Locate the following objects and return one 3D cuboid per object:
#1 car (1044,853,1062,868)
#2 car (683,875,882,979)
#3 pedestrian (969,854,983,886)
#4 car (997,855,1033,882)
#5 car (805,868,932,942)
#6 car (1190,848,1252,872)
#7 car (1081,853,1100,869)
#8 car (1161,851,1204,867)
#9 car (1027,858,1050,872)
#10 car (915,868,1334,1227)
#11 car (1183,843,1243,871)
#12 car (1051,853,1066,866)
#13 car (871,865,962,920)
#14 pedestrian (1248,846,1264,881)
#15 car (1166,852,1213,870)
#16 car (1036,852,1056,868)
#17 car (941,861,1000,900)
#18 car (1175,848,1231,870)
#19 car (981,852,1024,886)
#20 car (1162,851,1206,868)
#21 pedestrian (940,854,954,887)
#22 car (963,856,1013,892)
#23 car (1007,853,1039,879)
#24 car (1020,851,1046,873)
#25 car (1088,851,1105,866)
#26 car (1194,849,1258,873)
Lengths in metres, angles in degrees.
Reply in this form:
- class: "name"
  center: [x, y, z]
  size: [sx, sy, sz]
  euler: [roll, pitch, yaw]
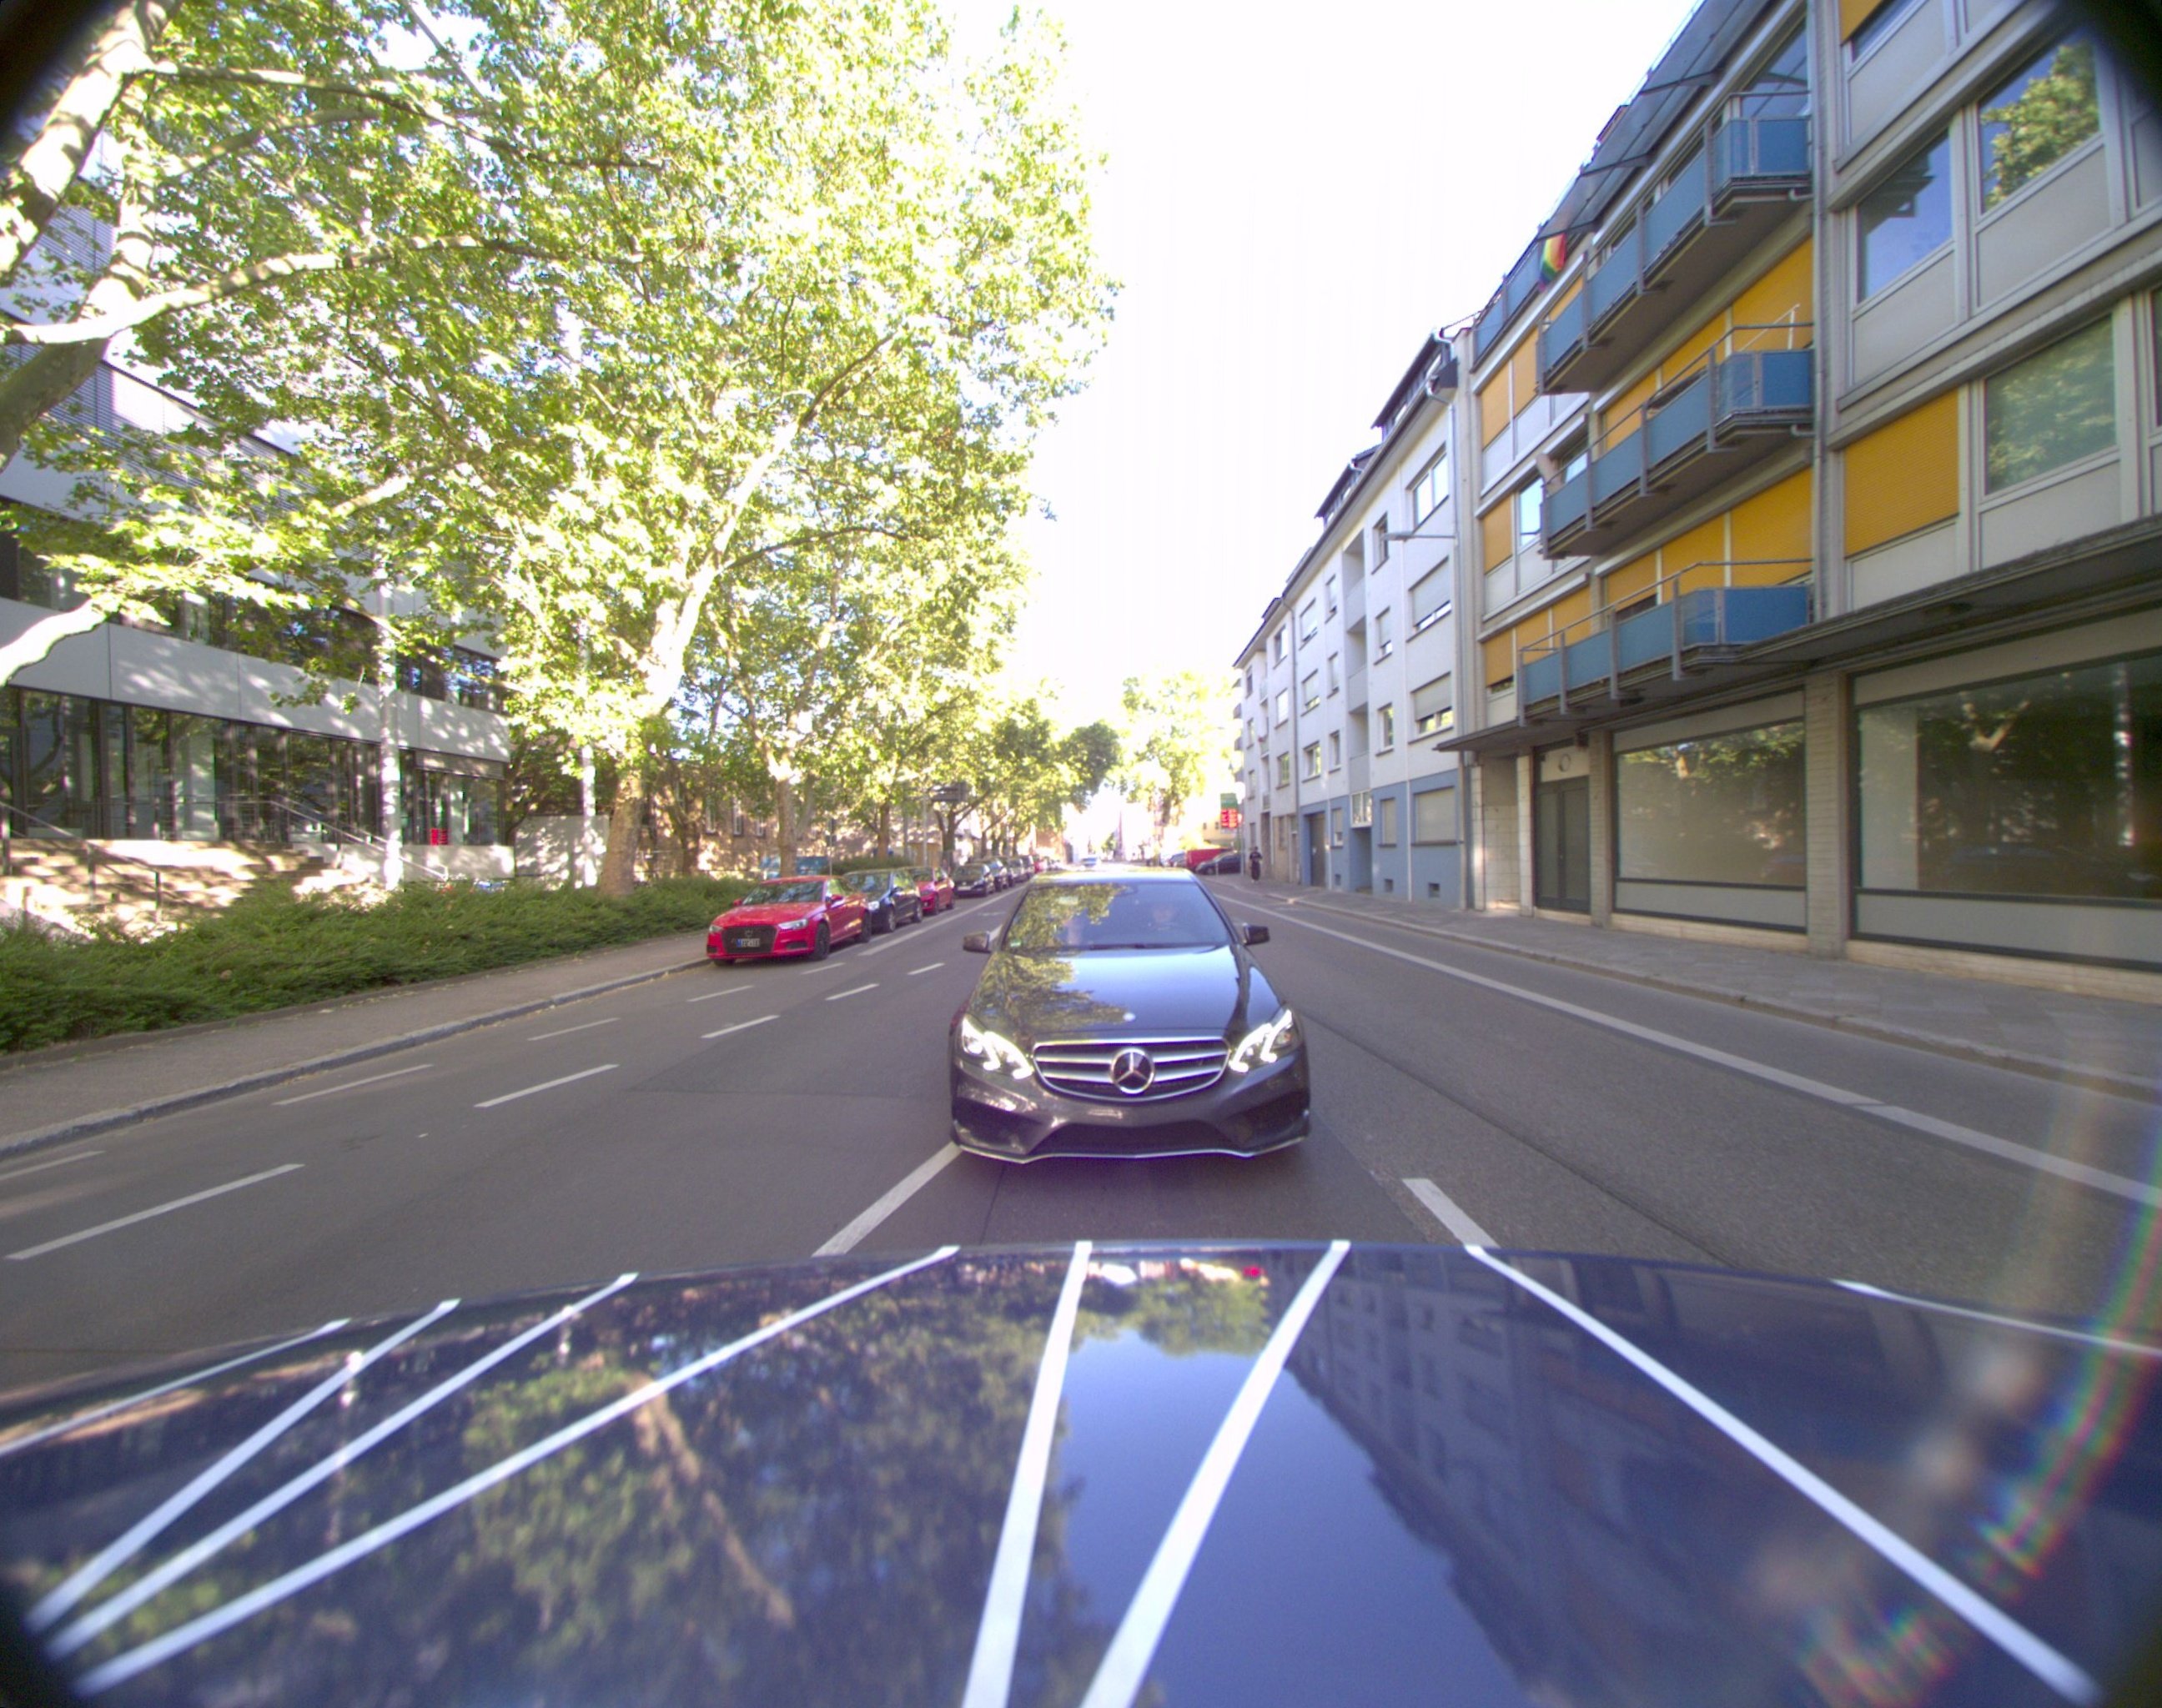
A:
- class: "car"
  center: [-3.411, 0.782, 92.840]
  size: [1.835, 1.667, 4.259]
  euler: [-2, 0, 1]
- class: "car"
  center: [-5.131, 1.176, 13.768]
  size: [1.835, 1.396, 4.247]
  euler: [-2, 0, 1]
- class: "pedestrian"
  center: [-6.154, 0.926, 44.686]
  size: [0.660, 1.849, 0.641]
  euler: [-2, 1, 1]
- class: "car"
  center: [-4.338, 0.944, 50.606]
  size: [1.835, 1.604, 4.259]
  euler: [-2, 0, 1]
- class: "car"
  center: [-5.041, 1.149, 18.629]
  size: [1.835, 1.438, 4.168]
  euler: [-2, 0, 1]
- class: "car"
  center: [10.483, 0.449, 57.047]
  size: [4.255, 1.461, 1.653]
  euler: [-4, 0, 1]
- class: "car"
  center: [0.966, 0.647, 74.989]
  size: [1.726, 1.530, 4.000]
  euler: [-1, 0, 1]
- class: "car"
  center: [10.774, 0.508, 80.613]
  size: [4.255, 1.461, 1.653]
  euler: [-4, 0, 1]
- class: "car"
  center: [-3.990, 1.023, 71.786]
  size: [1.835, 1.220, 4.259]
  euler: [-2, 0, 1]
- class: "car"
  center: [0.224, 0.915, 5.569]
  size: [1.849, 1.490, 4.302]
  euler: [-1, 0, 1]
- class: "car"
  center: [10.415, 0.217, 60.127]
  size: [4.255, 1.907, 1.818]
  euler: [-4, 0, 0]
- class: "car"
  center: [-3.046, 0.681, 102.947]
  size: [1.835, 1.667, 4.259]
  euler: [-2, 0, 1]
- class: "car"
  center: [-5.043, 1.133, 23.838]
  size: [1.835, 1.459, 4.168]
  euler: [-2, 0, 1]
- class: "pedestrian"
  center: [8.353, 0.449, 36.257]
  size: [0.612, 1.685, 0.655]
  euler: [-2, 1, 1]
- class: "car"
  center: [10.432, 0.668, 73.190]
  size: [4.255, 1.461, 1.653]
  euler: [-4, 0, 1]
- class: "car"
  center: [-3.939, 0.664, 86.225]
  size: [1.835, 1.667, 4.259]
  euler: [-2, 0, 1]
- class: "car"
  center: [-4.746, 1.102, 33.175]
  size: [1.835, 1.459, 4.168]
  euler: [-2, 0, 1]
- class: "car"
  center: [10.052, 0.402, 62.709]
  size: [4.255, 1.461, 1.653]
  euler: [-4, 0, 1]
- class: "car"
  center: [-4.510, 0.820, 44.113]
  size: [1.835, 1.787, 4.463]
  euler: [-2, 0, 1]
- class: "car"
  center: [10.603, 0.535, 78.648]
  size: [4.255, 1.461, 1.653]
  euler: [-4, 0, 1]
- class: "pedestrian"
  center: [-7.360, 0.884, 41.656]
  size: [0.601, 1.785, 0.593]
  euler: [-2, 1, 0]
- class: "car"
  center: [-4.597, 0.962, 38.073]
  size: [1.835, 1.596, 4.161]
  euler: [-2, 0, 1]
- class: "car"
  center: [-4.180, 0.809, 55.638]
  size: [1.835, 1.750, 4.259]
  euler: [-2, 0, 1]
- class: "car"
  center: [-4.146, 0.679, 66.345]
  size: [1.835, 1.839, 4.259]
  euler: [-2, 0, 1]
- class: "car"
  center: [1.796, 0.489, 89.676]
  size: [1.908, 1.678, 4.813]
  euler: [-2, 0, 1]
- class: "car"
  center: [10.399, 0.513, 54.746]
  size: [4.255, 1.392, 1.653]
  euler: [-4, 0, 1]
